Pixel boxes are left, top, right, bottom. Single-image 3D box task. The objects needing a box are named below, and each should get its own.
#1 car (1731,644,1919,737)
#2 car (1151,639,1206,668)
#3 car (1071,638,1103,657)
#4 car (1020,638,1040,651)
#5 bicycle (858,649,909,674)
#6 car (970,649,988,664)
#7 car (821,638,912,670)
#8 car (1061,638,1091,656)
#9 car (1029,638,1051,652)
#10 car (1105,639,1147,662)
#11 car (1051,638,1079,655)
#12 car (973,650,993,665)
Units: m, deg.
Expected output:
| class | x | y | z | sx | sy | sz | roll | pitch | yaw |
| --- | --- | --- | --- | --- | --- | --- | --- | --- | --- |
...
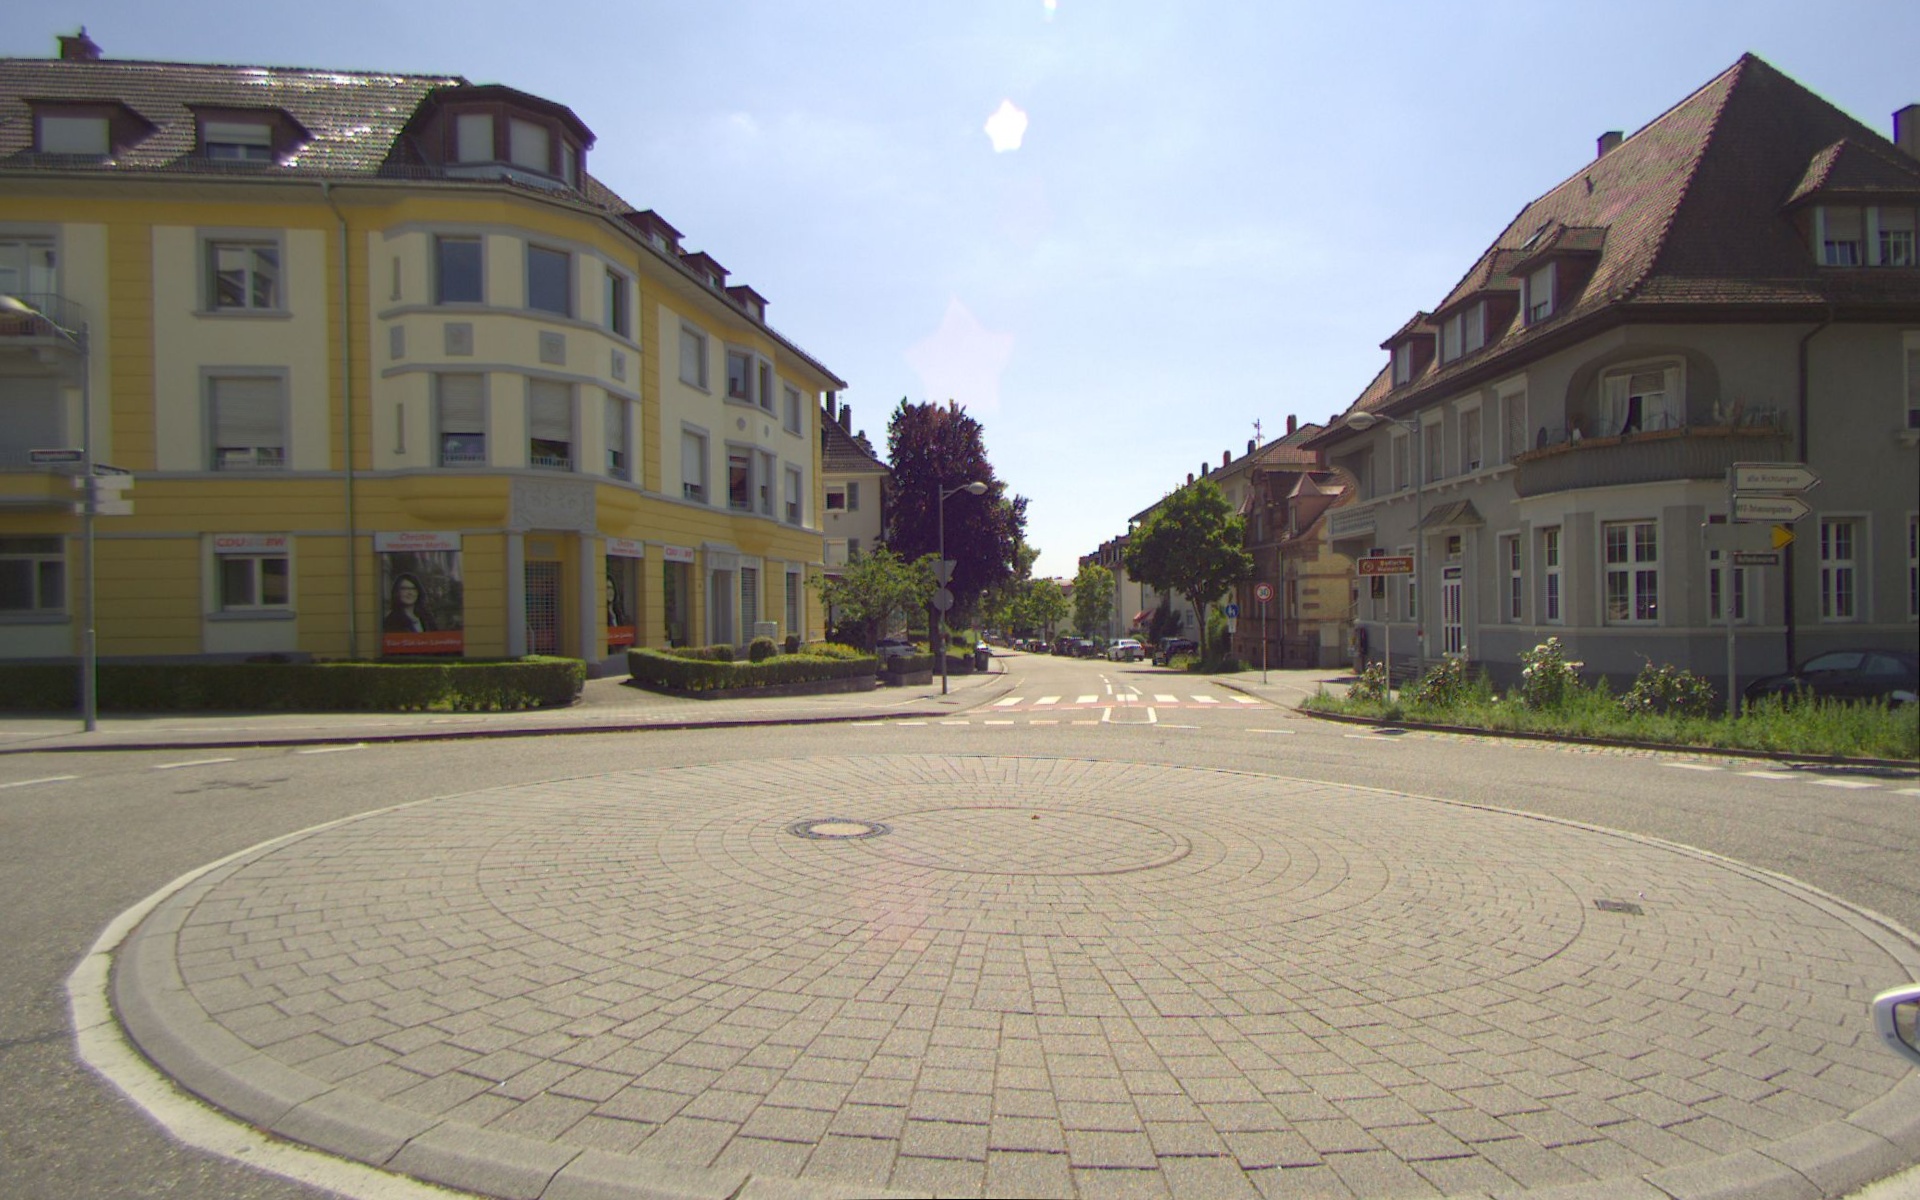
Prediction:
| class | x | y | z | sx | sy | sz | roll | pitch | yaw |
| --- | --- | --- | --- | --- | --- | --- | --- | --- | --- |
| car | 16.272 | 1.549 | 18.037 | 1.692 | 1.479 | 3.789 | 1 | -2 | -7 |
| car | 12.371 | 3.016 | 57.133 | 1.961 | 1.529 | 4.418 | 1 | -2 | -3 |
| car | 10.633 | 4.010 | 84.506 | 1.961 | 1.529 | 4.418 | 1 | -2 | -3 |
| car | 8.488 | 5.353 | 122.380 | 1.961 | 1.529 | 4.418 | 1 | -2 | -3 |
| bicycle | -3.602 | 2.876 | 47.087 | 2.343 | 1.153 | 0.668 | 0 | -2 | -6 |
| car | 1.997 | 6.002 | 107.146 | 1.775 | 1.472 | 4.000 | 1 | -2 | -2 |
| car | -4.619 | 2.619 | 49.384 | 4.339 | 1.529 | 1.997 | 1 | -2 | -9 |
| car | 10.402 | 4.211 | 90.325 | 1.961 | 1.529 | 4.418 | 1 | -2 | -3 |
| car | 9.257 | 5.202 | 116.213 | 1.961 | 1.529 | 4.418 | 1 | -2 | -3 |
| car | 11.421 | 3.445 | 69.267 | 1.961 | 1.529 | 4.418 | 1 | -2 | -3 |
| car | 10.019 | 4.413 | 96.166 | 1.961 | 1.529 | 4.418 | 1 | -2 | -3 |
| car | 2.298 | 5.785 | 101.377 | 1.775 | 1.472 | 4.000 | 1 | -2 | -2 |
